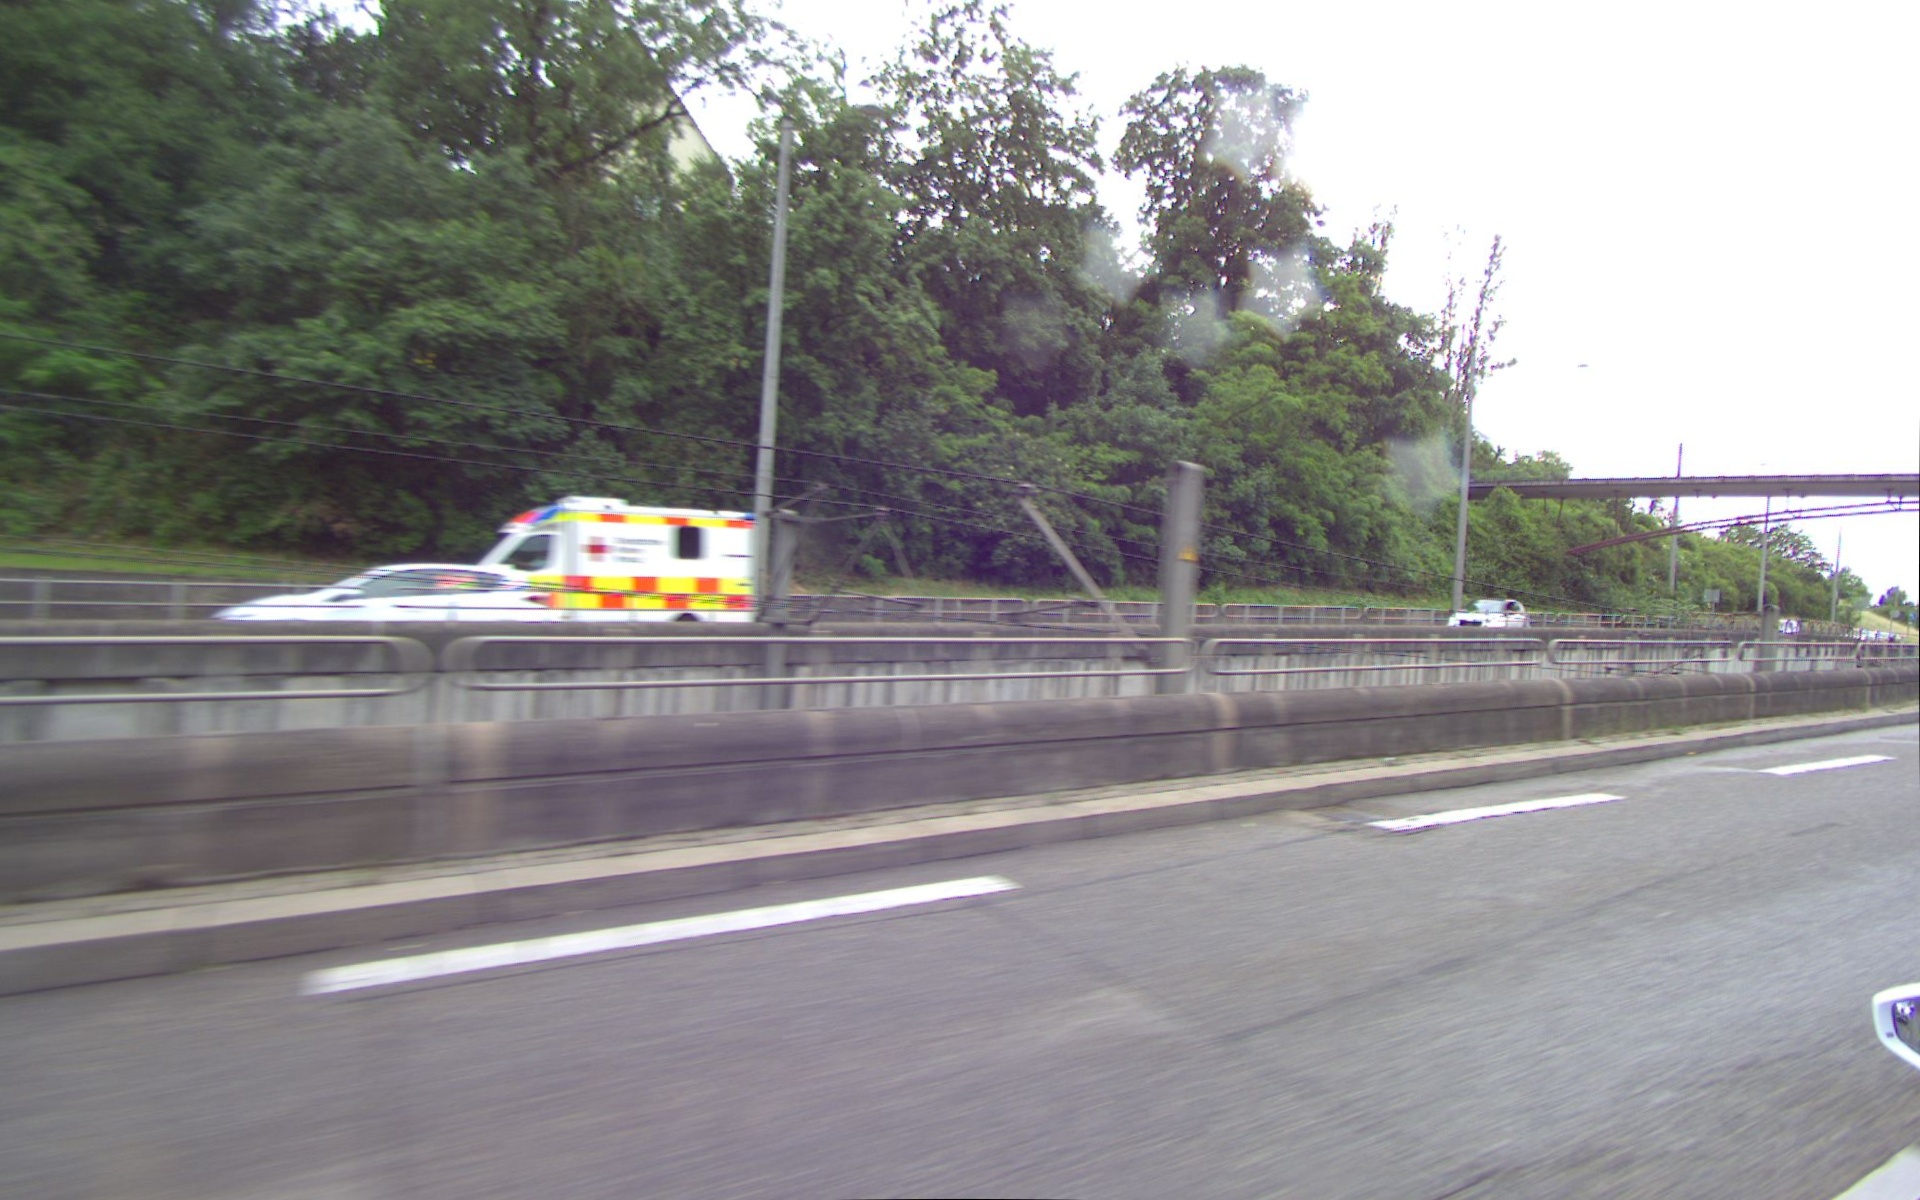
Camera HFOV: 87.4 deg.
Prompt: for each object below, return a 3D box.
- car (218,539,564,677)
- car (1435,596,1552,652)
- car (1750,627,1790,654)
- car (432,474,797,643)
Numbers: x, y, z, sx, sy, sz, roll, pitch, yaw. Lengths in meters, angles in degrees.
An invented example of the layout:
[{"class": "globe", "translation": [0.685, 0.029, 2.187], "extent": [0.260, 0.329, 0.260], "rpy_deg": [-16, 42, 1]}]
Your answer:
[{"class": "car", "translation": [-8.045, 0.159, 14.462], "extent": [4.067, 1.726, 1.807], "rpy_deg": [2, -1, -33]}, {"class": "car", "translation": [17.920, 0.815, 33.688], "extent": [4.104, 1.773, 1.946], "rpy_deg": [2, -1, -38]}, {"class": "car", "translation": [62.566, 3.114, 77.562], "extent": [4.526, 1.941, 1.655], "rpy_deg": [3, -1, -42]}, {"class": "car", "translation": [-6.508, -0.626, 19.358], "extent": [6.278, 2.771, 2.170], "rpy_deg": [2, -1, -33]}]
